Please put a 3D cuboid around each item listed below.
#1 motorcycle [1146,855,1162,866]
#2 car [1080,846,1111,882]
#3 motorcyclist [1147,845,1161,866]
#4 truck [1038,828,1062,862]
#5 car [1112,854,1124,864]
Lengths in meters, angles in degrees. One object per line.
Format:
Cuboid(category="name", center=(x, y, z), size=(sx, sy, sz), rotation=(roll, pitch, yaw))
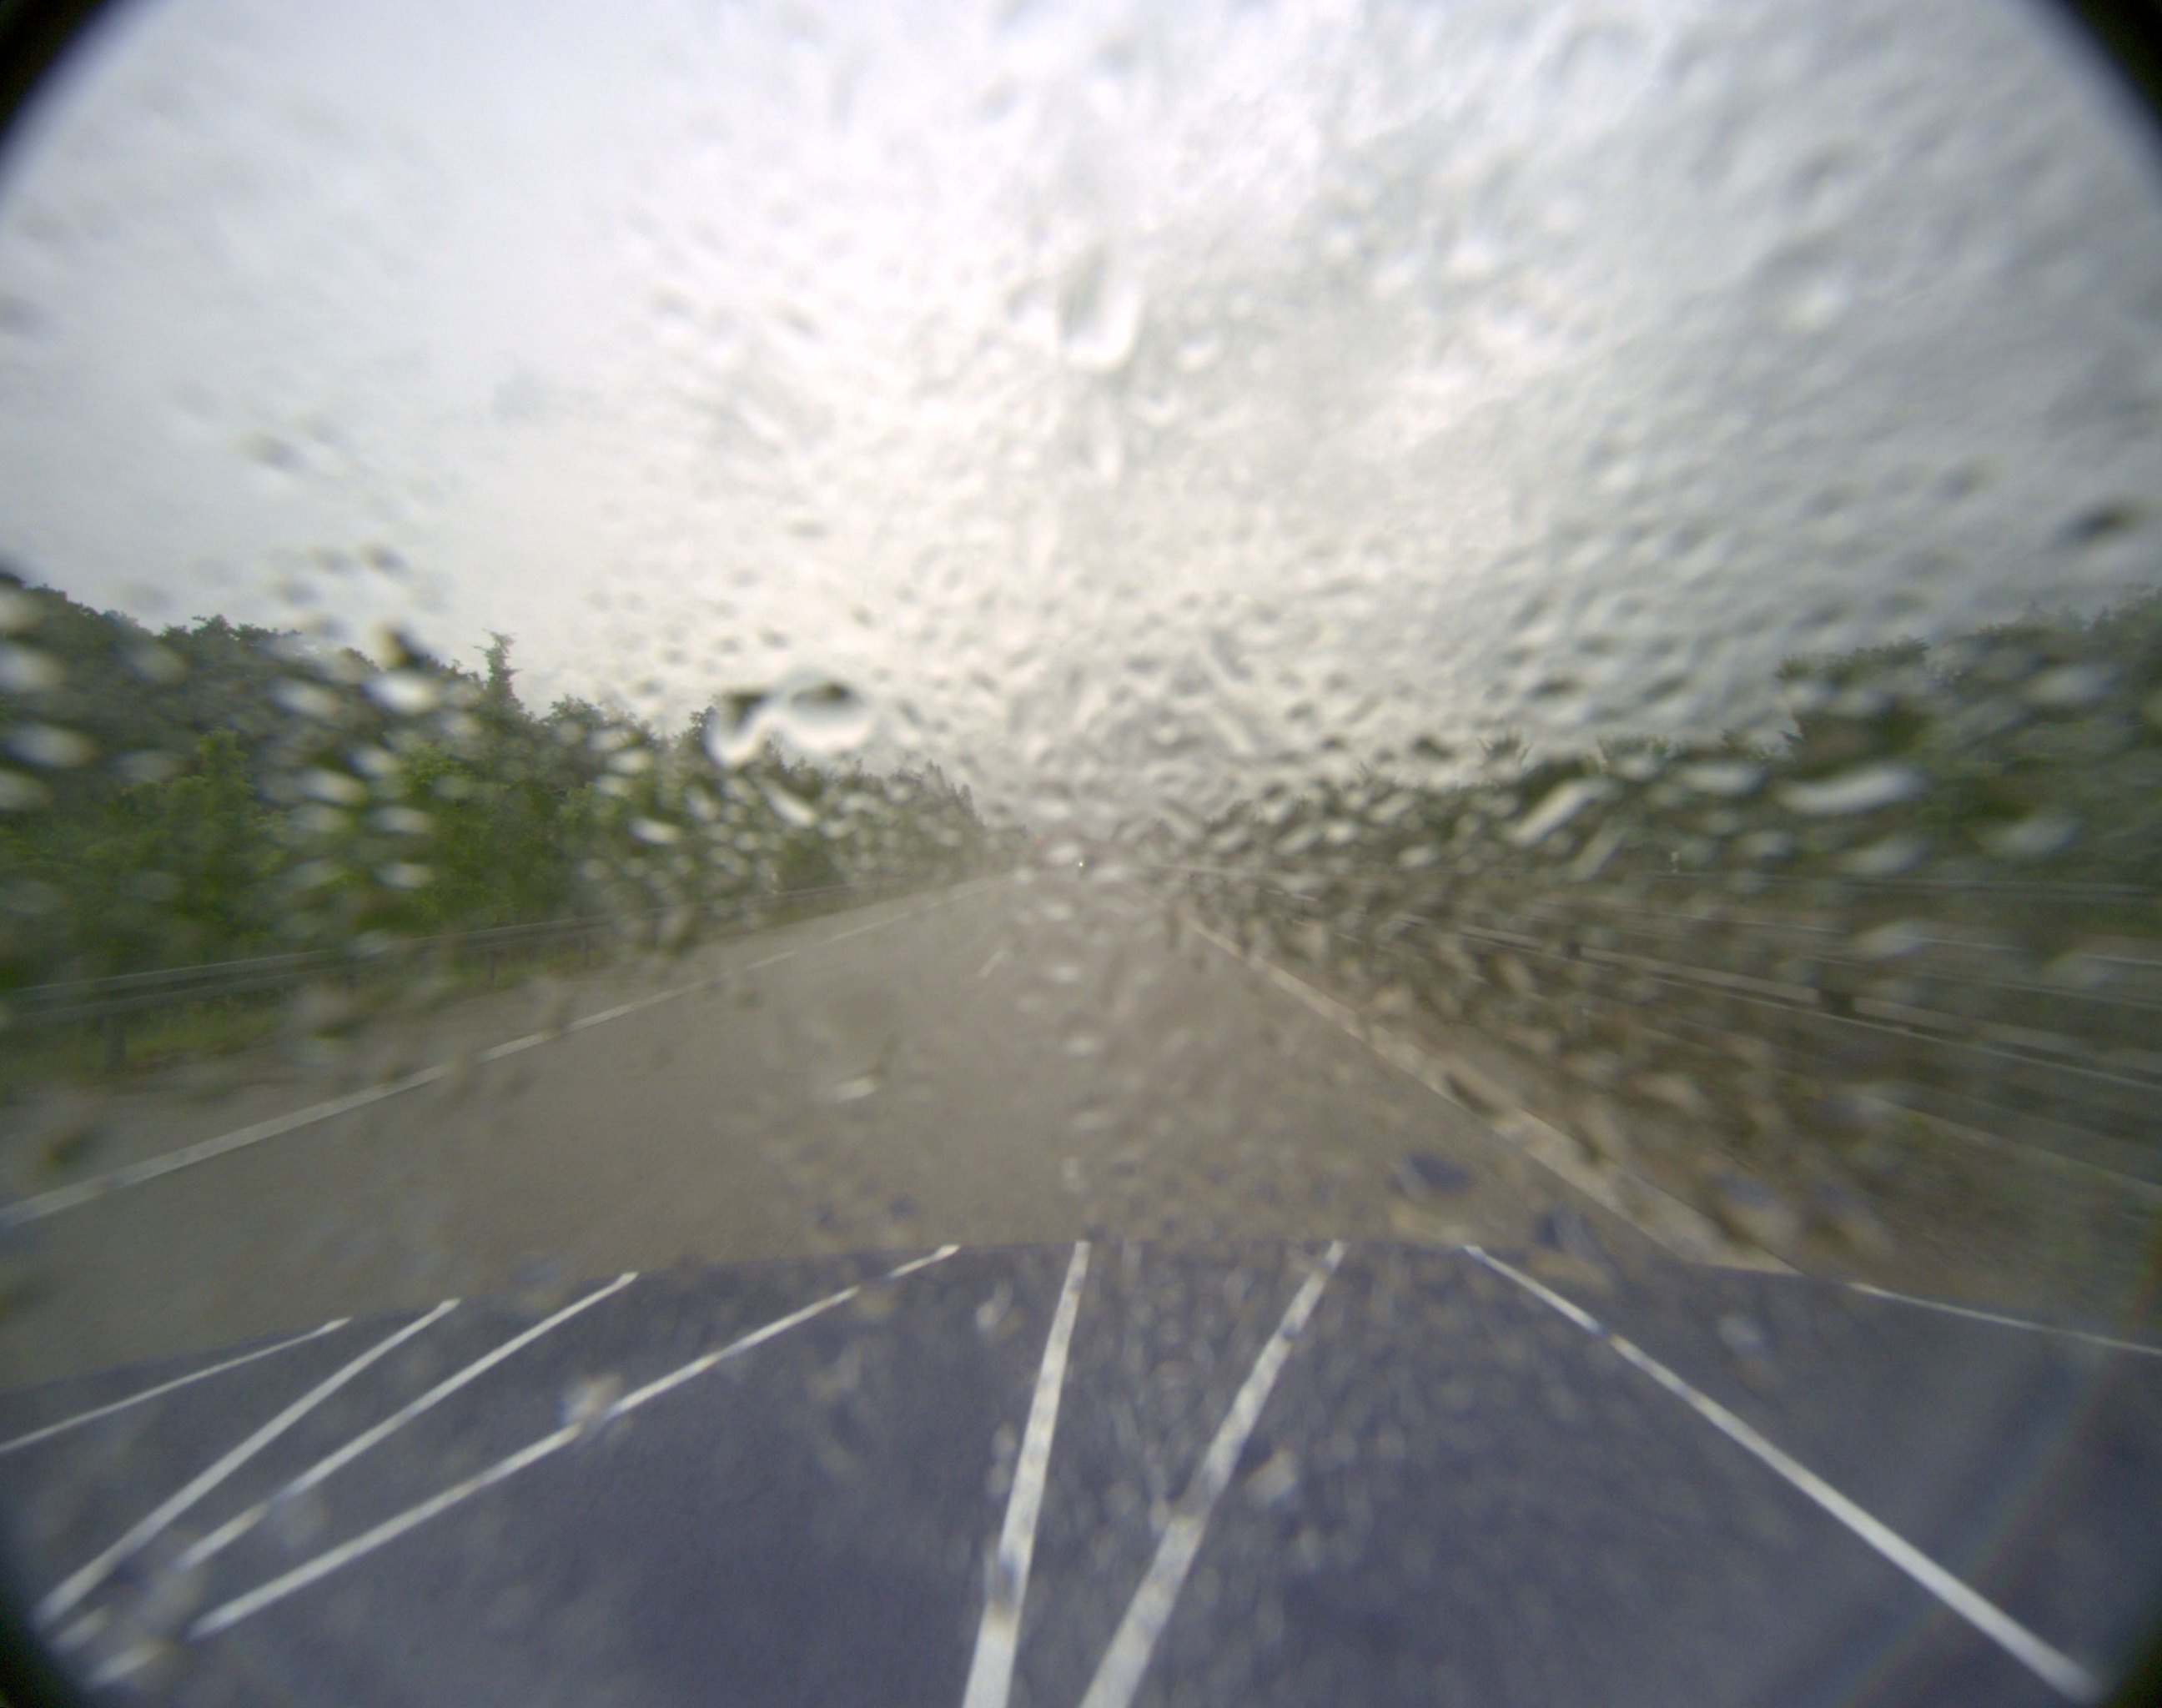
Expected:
Cuboid(category="motorcycle", center=(7.973, 0.717, 82.643), size=(1.269, 1.136, 2.961), rotation=(-3, 0, -3))
Cuboid(category="car", center=(0.858, 0.650, 47.834), size=(1.795, 2.113, 4.524), rotation=(1, -1, -1))
Cuboid(category="motorcyclist", center=(7.943, 0.173, 82.745), size=(1.265, 2.216, 1.697), rotation=(-3, 1, -3))
Cuboid(category="truck", center=(-3.763, -1.038, 92.987), size=(2.766, 4.063, 5.437), rotation=(1, -1, -1))
Cuboid(category="car", center=(6.568, 0.923, 136.435), size=(1.799, 1.609, 3.999), rotation=(1, -1, -2))
